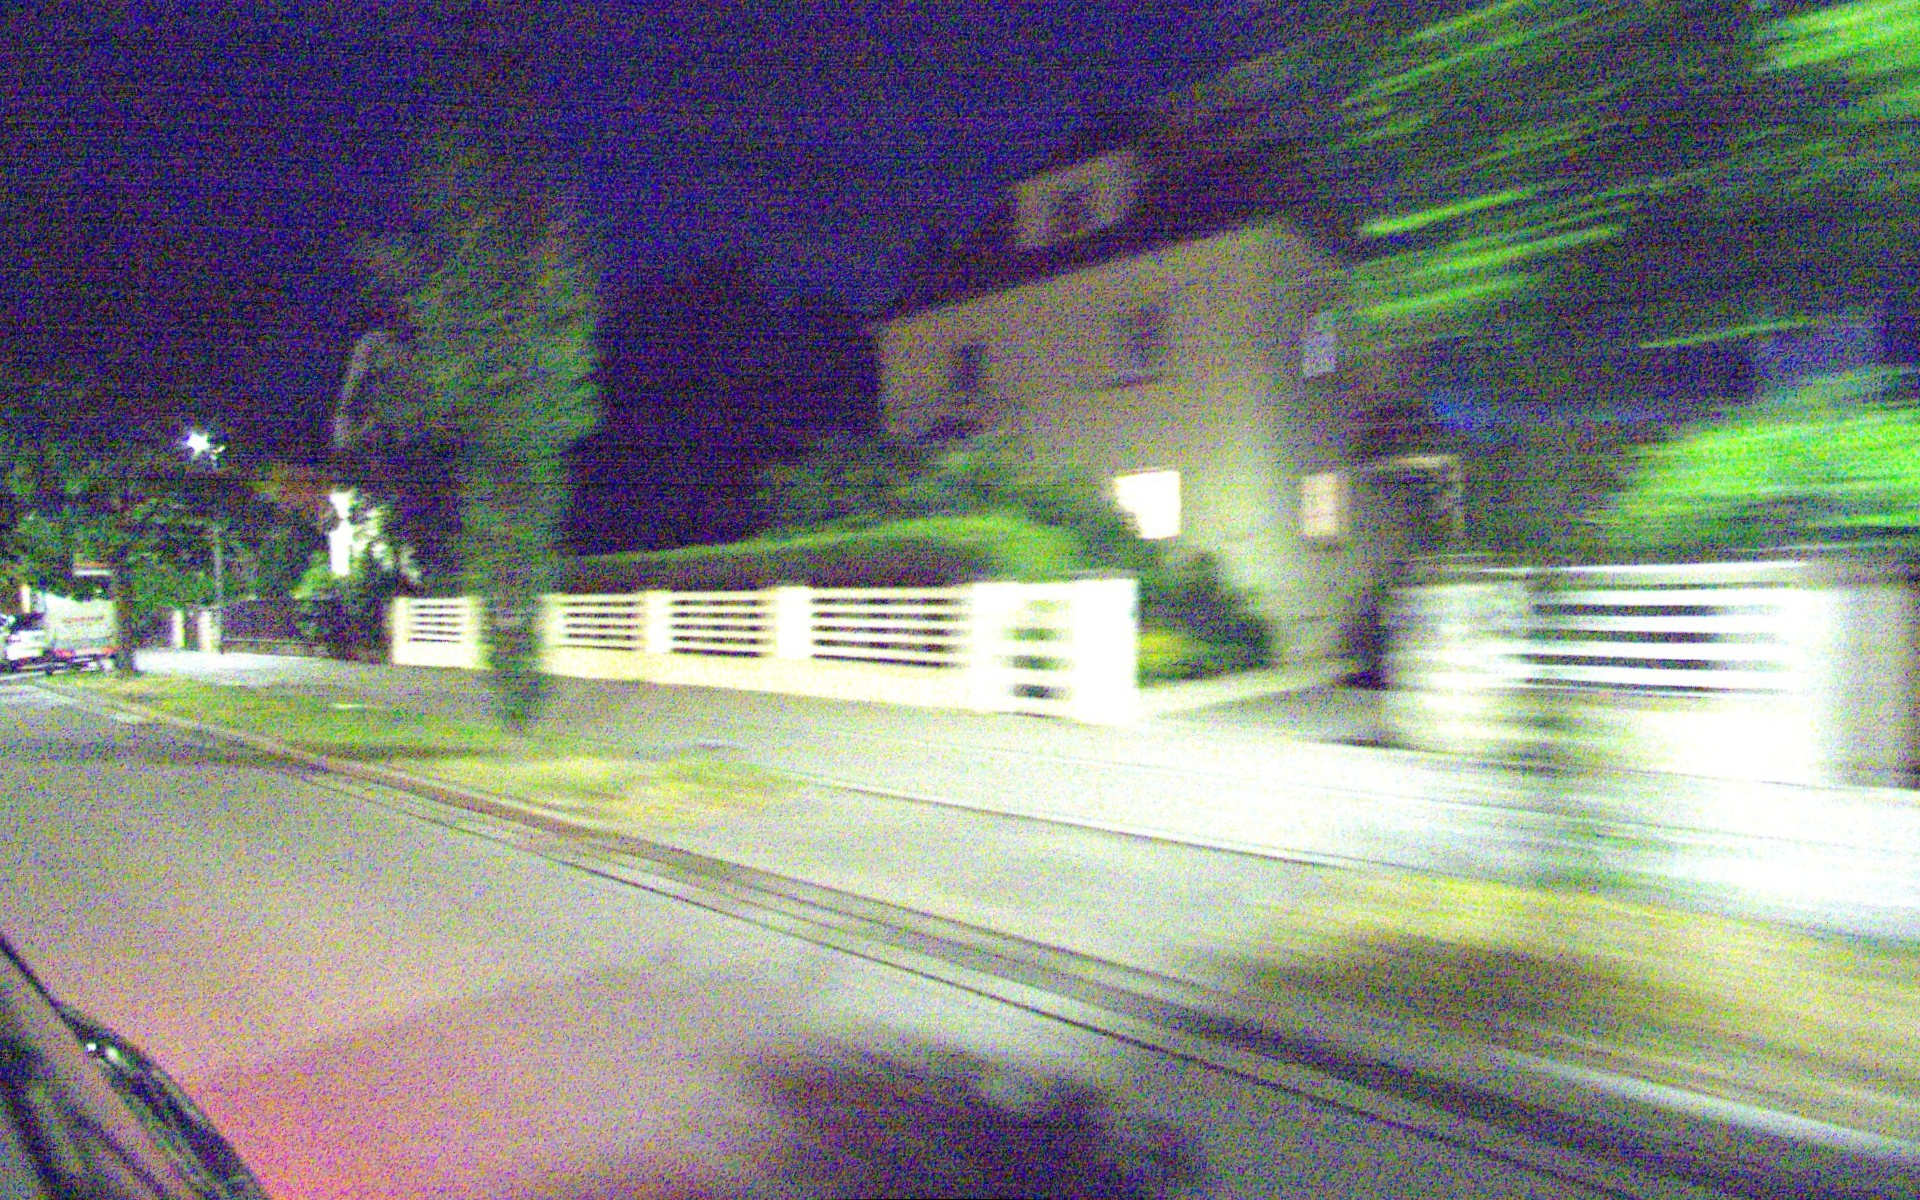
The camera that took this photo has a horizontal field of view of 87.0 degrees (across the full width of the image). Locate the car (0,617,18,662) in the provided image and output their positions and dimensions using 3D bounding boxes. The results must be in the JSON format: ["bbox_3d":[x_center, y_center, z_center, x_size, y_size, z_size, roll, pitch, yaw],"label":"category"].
[{"bbox_3d":[-35.013,1.435,35.962,4.276,1.530,1.748,-1,1,41],"label":"car"}]

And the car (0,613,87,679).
[{"bbox_3d":[-24.646,1.192,26.890,2.976,1.533,1.655,-1,3,40],"label":"car"}]

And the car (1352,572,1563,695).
[{"bbox_3d":[6.706,0.402,13.450,1.580,1.390,3.878,-1,-1,41],"label":"car"}]

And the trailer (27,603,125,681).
[{"bbox_3d":[-21.936,0.992,25.074,3.426,1.700,1.432,-1,3,44],"label":"trailer"}]
